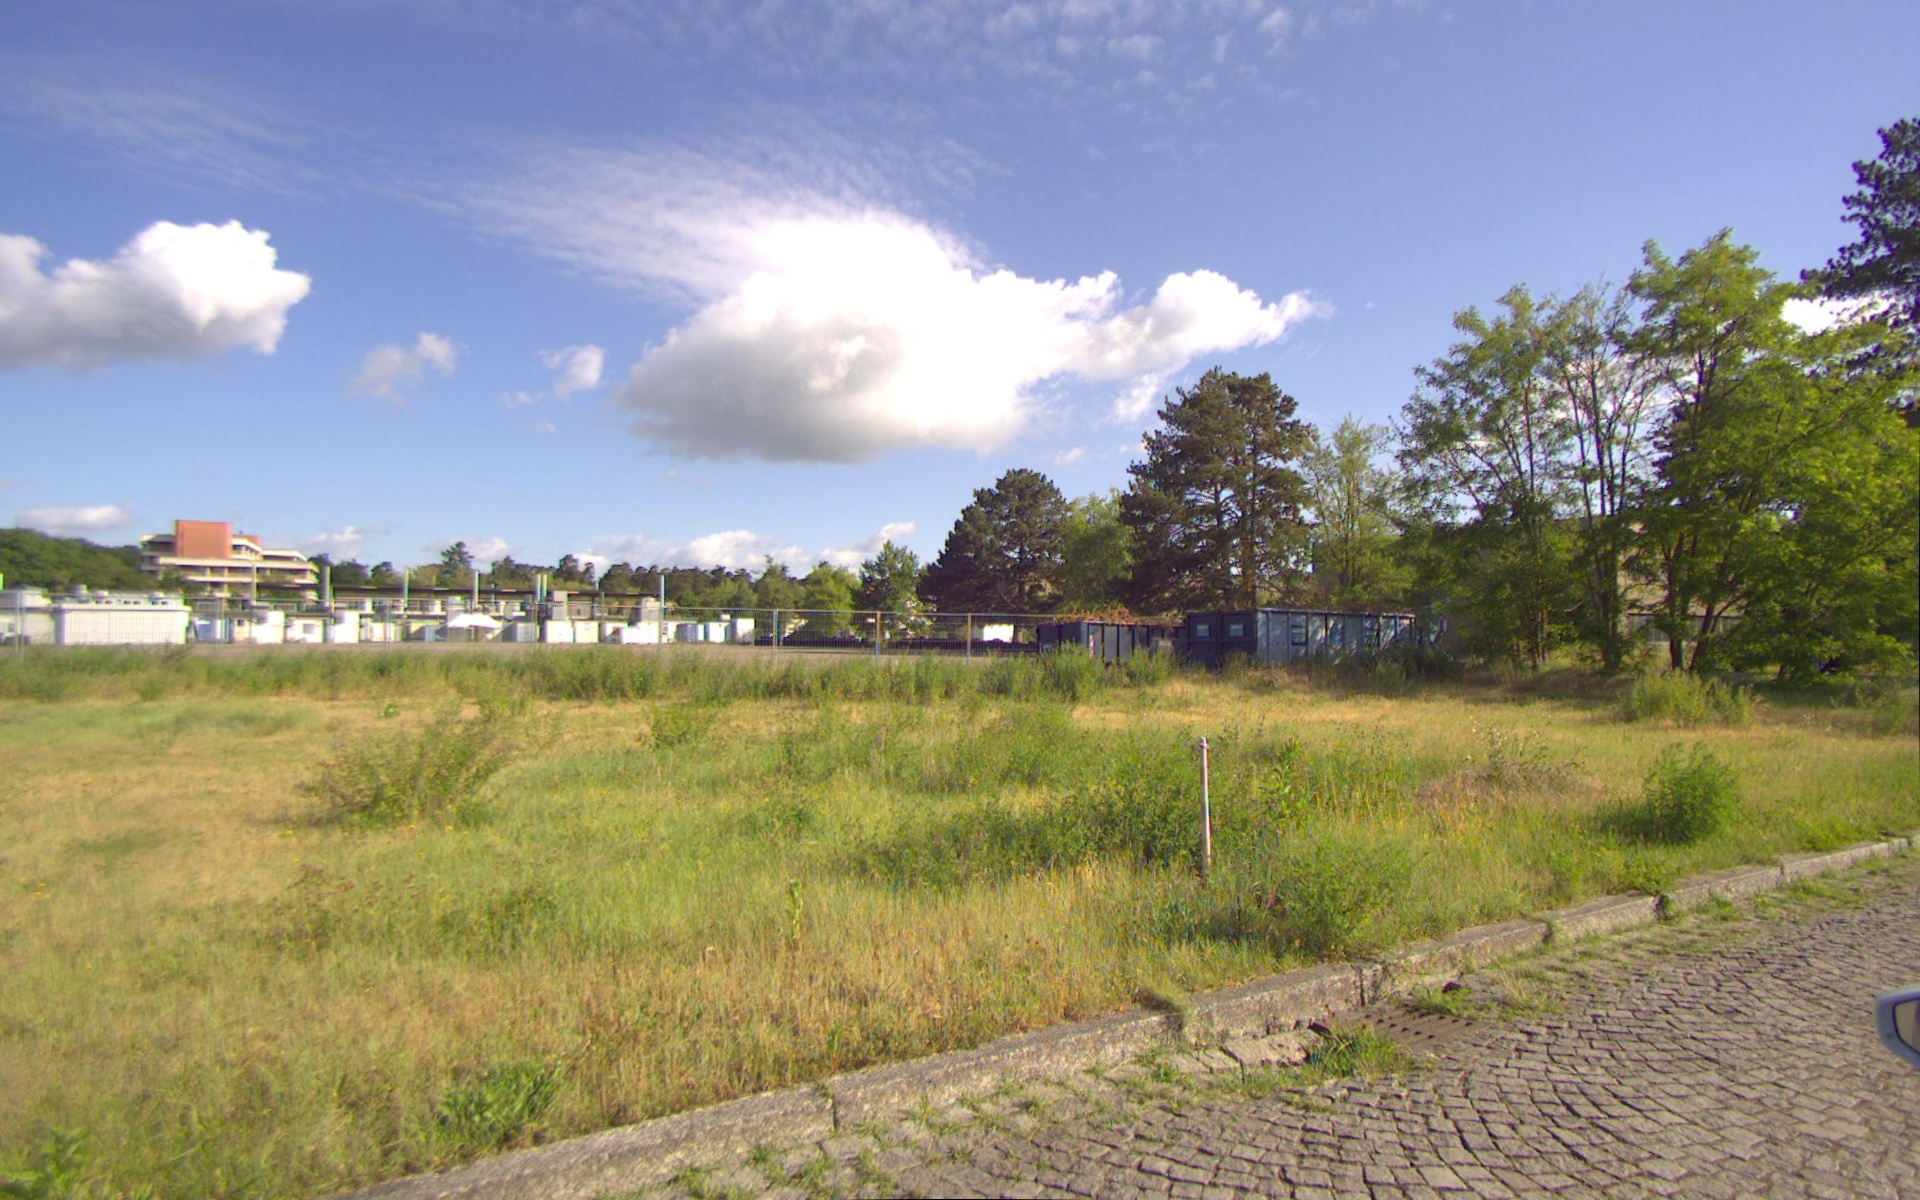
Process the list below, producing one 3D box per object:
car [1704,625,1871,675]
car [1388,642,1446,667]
[{"bbox_3d":[29.050,1.719,35.398,1.985,1.629,4.127,1,-2,-28],"label":"car"},{"bbox_3d":[33.591,4.001,73.825,3.951,1.802,1.858,1,-2,-27],"label":"car"}]
